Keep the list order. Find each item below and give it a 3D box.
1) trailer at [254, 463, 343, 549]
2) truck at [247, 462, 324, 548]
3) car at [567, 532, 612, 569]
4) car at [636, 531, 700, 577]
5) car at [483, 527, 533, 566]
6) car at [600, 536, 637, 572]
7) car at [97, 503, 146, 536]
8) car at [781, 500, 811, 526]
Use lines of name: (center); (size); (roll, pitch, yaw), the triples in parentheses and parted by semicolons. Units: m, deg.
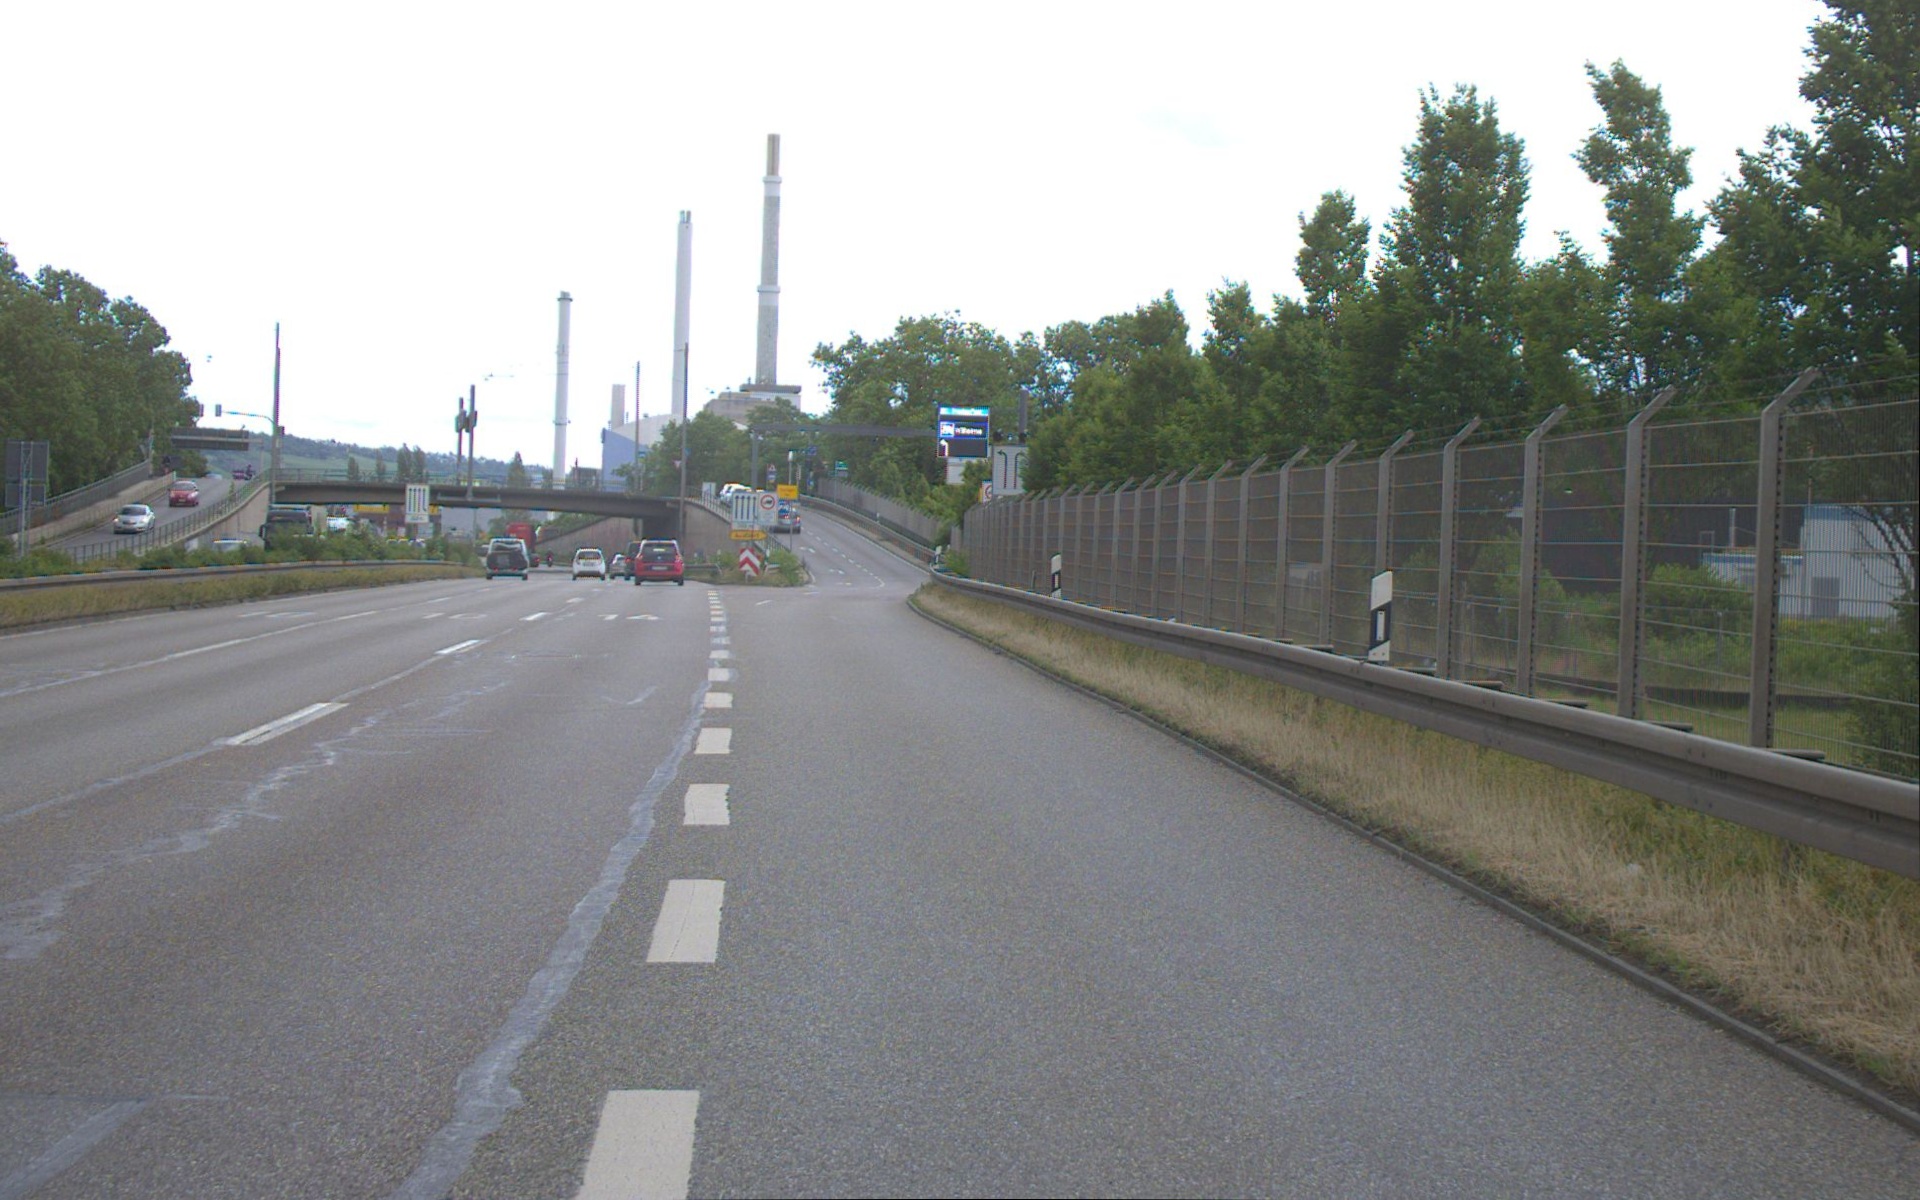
trailer: (-38.372, -5.375, 199.866); (3.463, 4.657, 14.785); (2, 1, -5)
truck: (-37.720, -5.279, 192.547); (3.463, 4.657, 6.212); (2, 1, -5)
car: (-18.333, -2.448, 170.129); (1.993, 1.678, 4.001); (2, 1, -4)
car: (-9.873, -1.575, 116.582); (1.993, 1.415, 4.001); (2, 1, -3)
car: (-20.673, -2.458, 157.356); (1.993, 1.678, 4.001); (2, 1, -4)
car: (-20.660, -2.807, 207.774); (1.917, 2.007, 4.001); (2, 1, -9)
car: (-45.496, -4.372, 186.705); (1.993, 1.638, 4.605); (3, 1, -7)
car: (-10.371, -5.514, 217.785); (1.749, 1.575, 4.085); (1, 1, -1)
